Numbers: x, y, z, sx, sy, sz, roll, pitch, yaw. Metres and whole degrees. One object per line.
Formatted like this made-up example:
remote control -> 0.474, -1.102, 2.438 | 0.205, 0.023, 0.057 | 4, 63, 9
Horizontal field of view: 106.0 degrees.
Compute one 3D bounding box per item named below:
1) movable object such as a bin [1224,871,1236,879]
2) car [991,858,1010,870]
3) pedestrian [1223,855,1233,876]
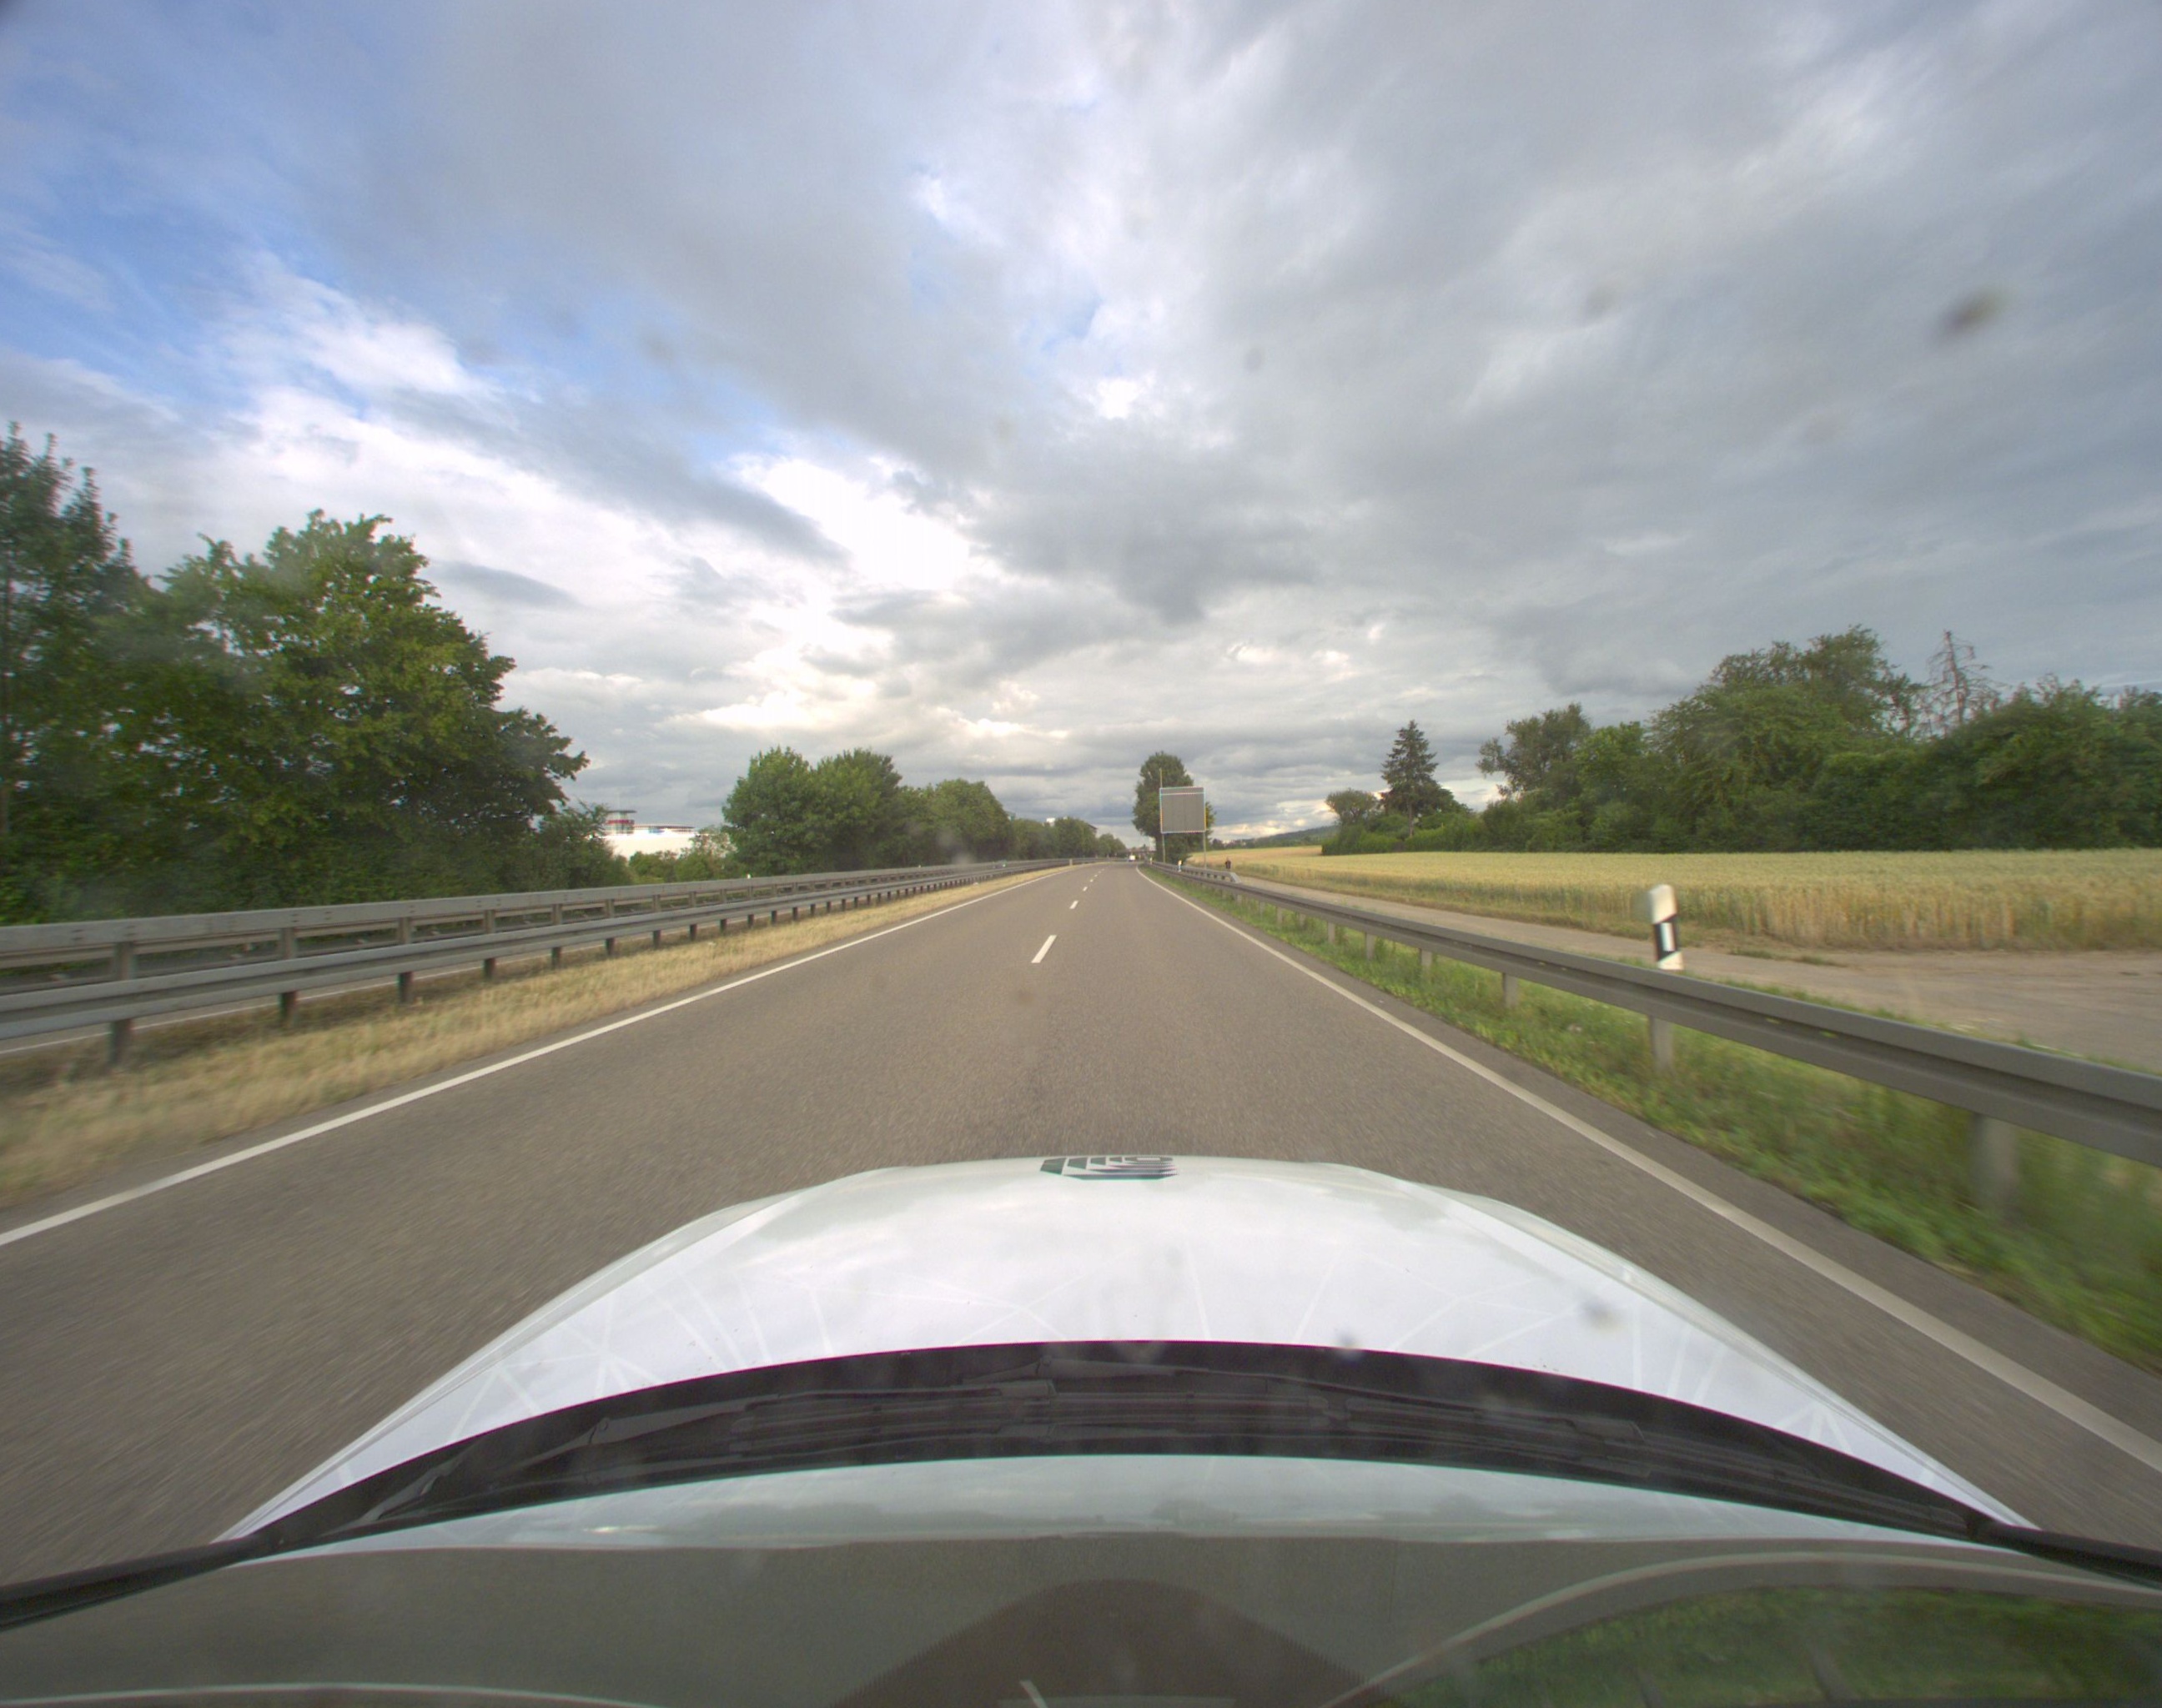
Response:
movable object such as a bin -> 11.584, 1.641, 63.315 | 0.729, 0.645, 1.236 | 0, -1, 2
car -> -10.361, 1.296, 104.727 | 1.774, 1.352, 4.579 | -2, 0, 2
pedestrian -> 13.154, 1.048, 73.013 | 0.768, 1.868, 0.940 | 0, -1, 2
